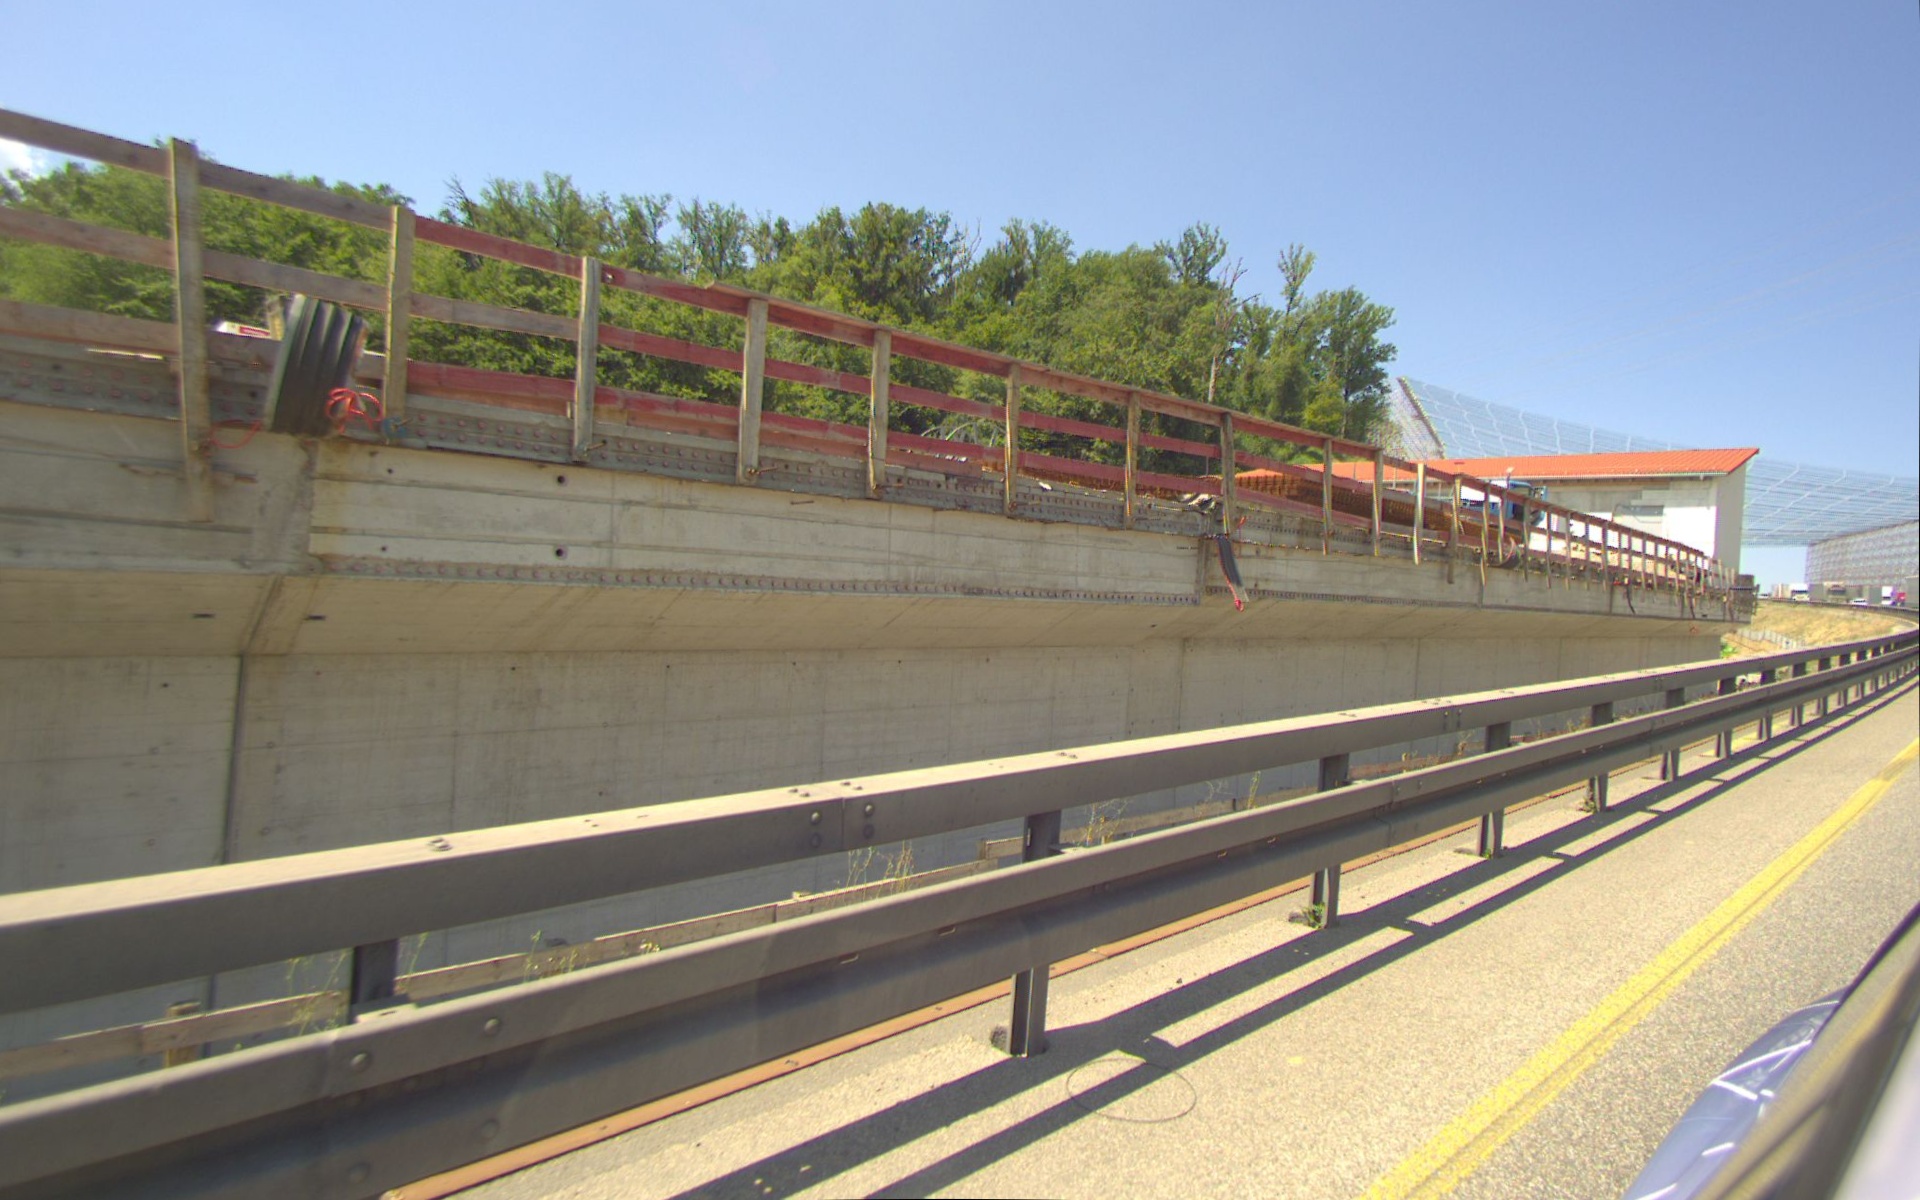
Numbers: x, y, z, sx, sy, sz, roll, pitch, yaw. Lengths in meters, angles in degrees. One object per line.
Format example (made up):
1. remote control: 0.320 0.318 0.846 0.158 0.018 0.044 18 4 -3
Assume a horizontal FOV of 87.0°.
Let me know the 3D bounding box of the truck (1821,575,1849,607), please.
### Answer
1. truck: 137.788 -1.449 159.501 3.028 4.865 8.817 0 1 39

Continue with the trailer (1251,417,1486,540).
1. trailer: 15.906 -4.549 39.342 8.806 3.741 2.725 3 -1 -20

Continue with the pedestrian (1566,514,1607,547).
1. pedestrian: 23.370 -2.598 37.772 0.976 1.165 1.022 -1 1 -38

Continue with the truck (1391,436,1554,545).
1. truck: 20.819 -4.333 41.177 5.590 3.741 2.725 3 -1 -20

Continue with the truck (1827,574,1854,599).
1. truck: 150.931 -2.331 173.500 3.028 4.107 8.555 0 1 39
